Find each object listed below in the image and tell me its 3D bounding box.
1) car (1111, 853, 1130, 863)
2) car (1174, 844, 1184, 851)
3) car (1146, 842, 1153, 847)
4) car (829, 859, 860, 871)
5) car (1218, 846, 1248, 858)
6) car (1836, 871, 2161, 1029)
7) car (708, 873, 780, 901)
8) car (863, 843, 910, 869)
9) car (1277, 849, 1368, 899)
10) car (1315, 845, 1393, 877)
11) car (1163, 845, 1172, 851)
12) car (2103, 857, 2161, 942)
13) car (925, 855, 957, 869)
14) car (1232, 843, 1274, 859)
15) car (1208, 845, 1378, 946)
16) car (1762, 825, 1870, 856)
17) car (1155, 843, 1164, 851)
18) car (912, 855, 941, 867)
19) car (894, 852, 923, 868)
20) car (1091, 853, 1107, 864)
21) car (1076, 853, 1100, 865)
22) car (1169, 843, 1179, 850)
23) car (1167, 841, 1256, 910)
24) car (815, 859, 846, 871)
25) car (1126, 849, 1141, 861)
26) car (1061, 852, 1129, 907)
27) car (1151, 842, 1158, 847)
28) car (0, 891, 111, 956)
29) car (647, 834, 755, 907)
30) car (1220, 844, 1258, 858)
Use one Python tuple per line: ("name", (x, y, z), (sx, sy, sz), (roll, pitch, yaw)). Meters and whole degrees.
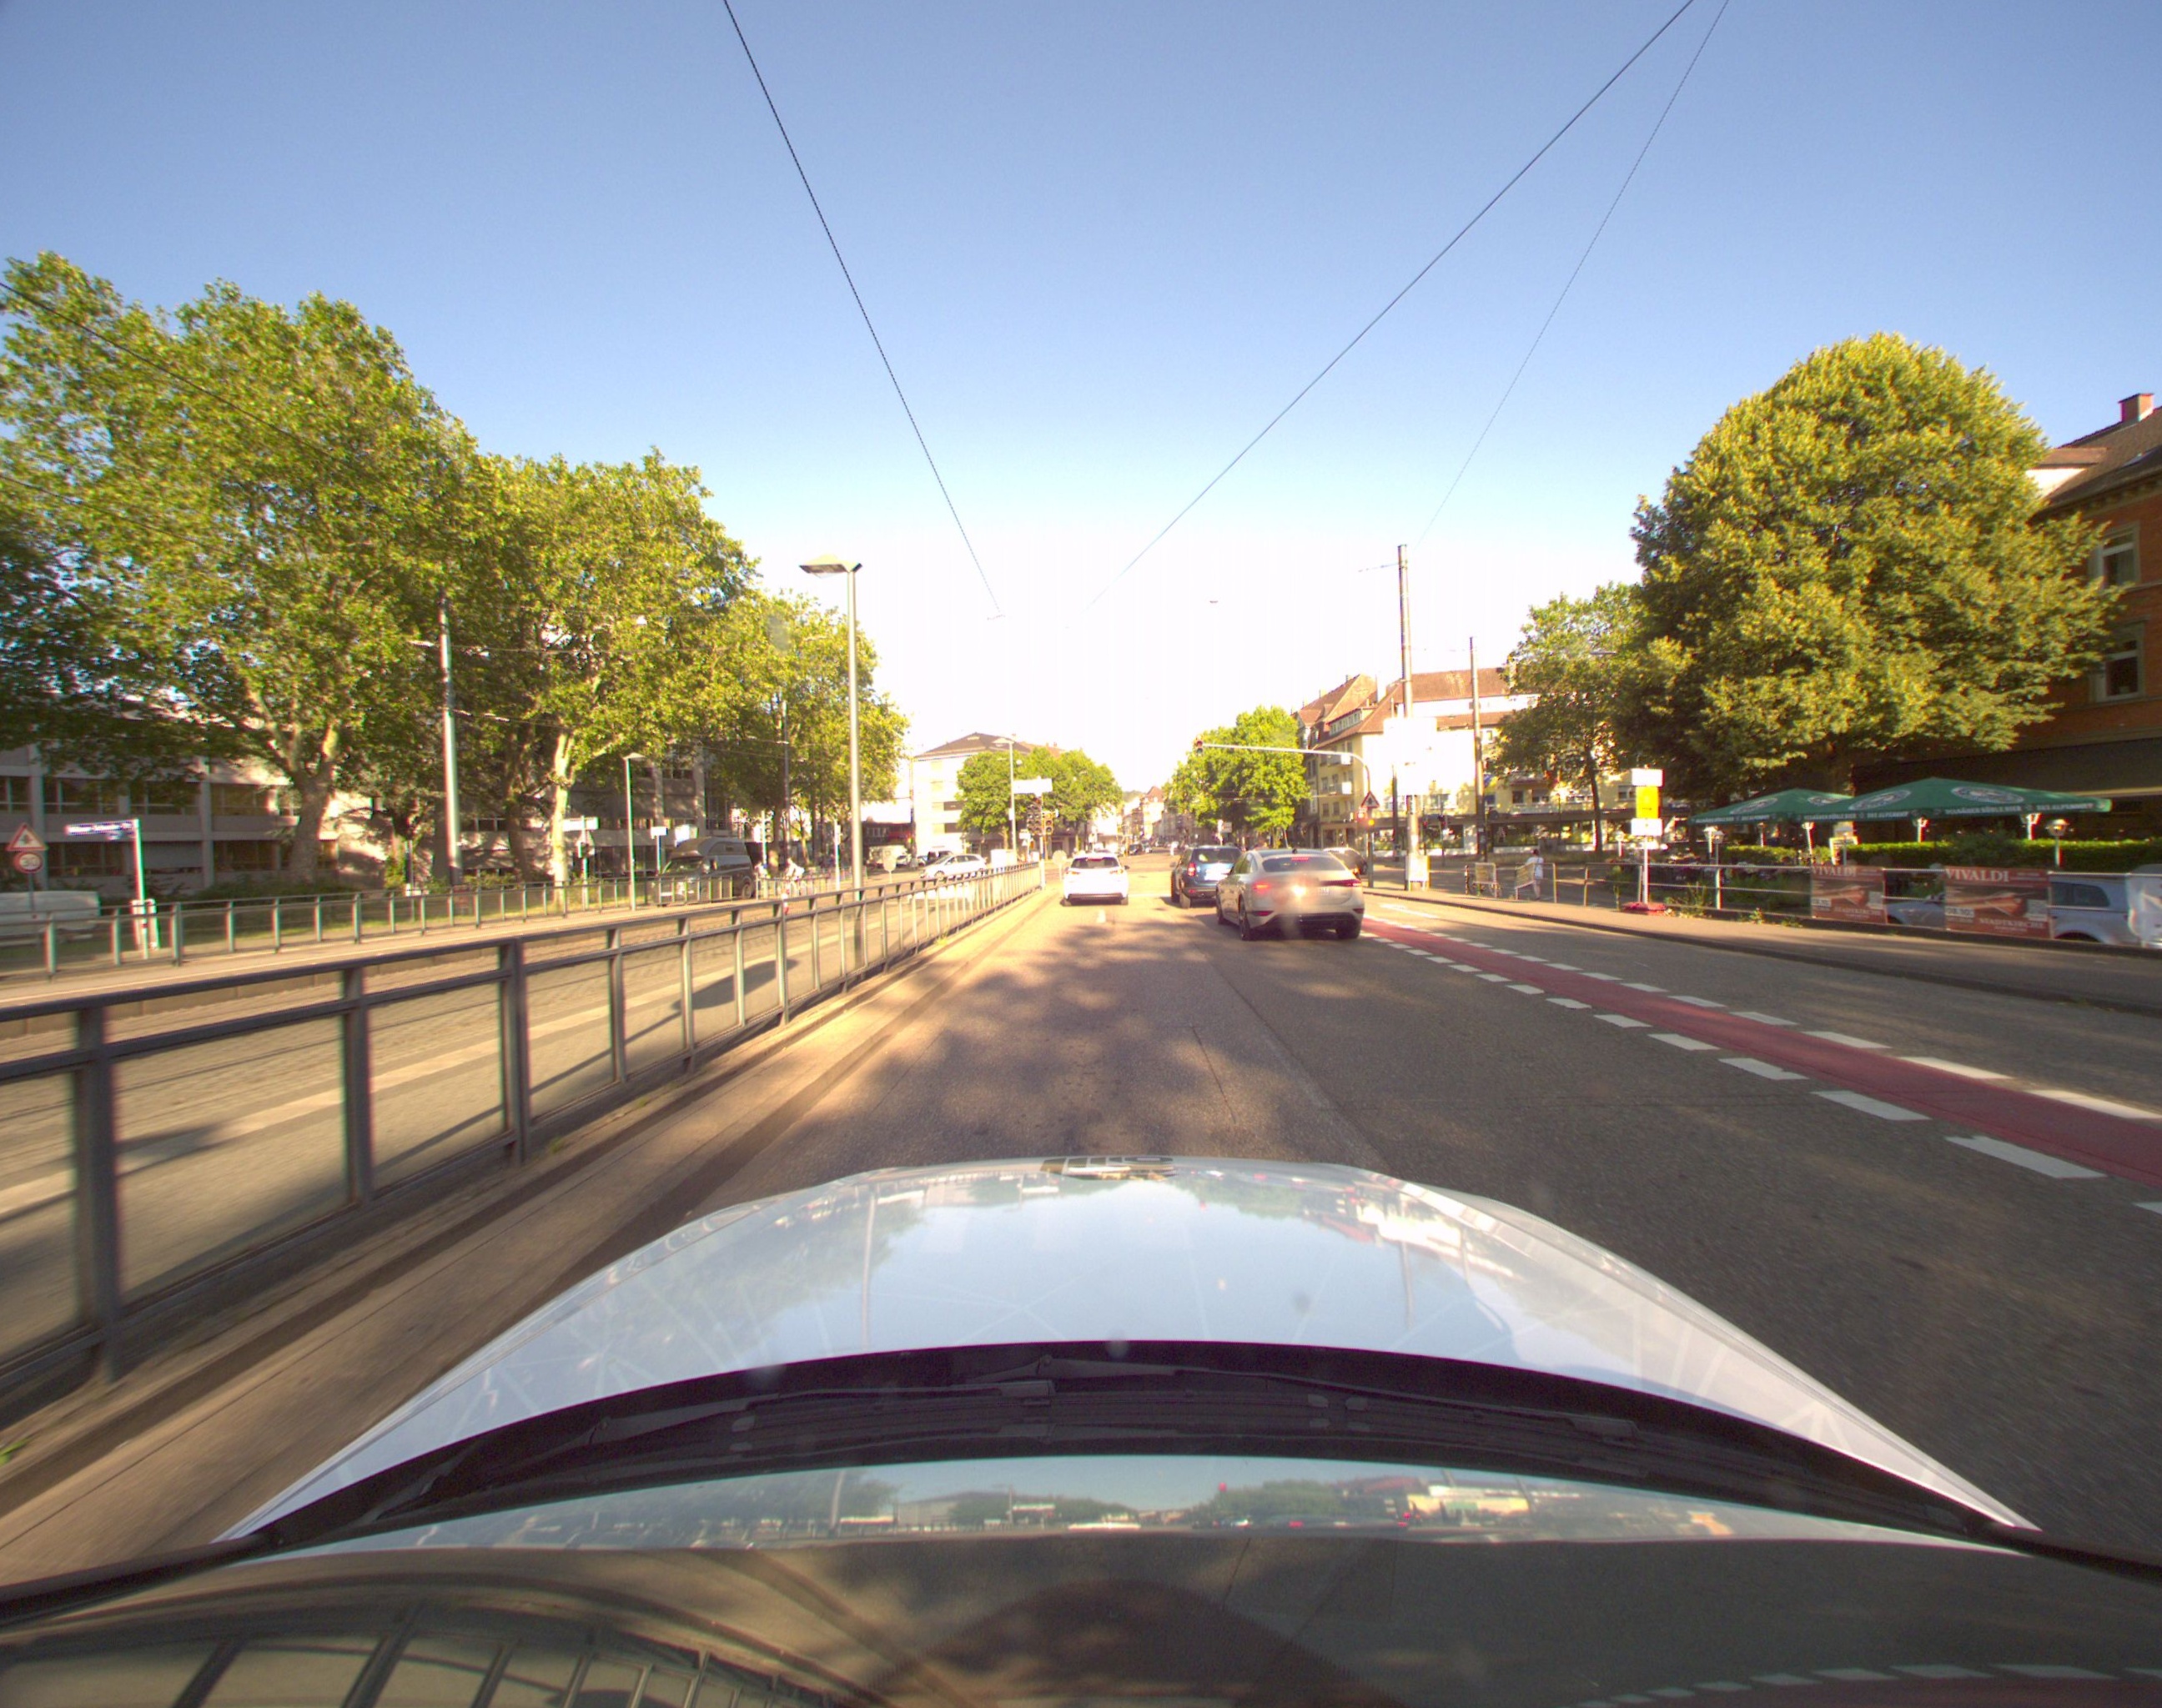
("car", (6.061, 0.601, 124.534), (1.779, 1.510, 4.021), (-2, -1, 21))
("car", (21.038, -1.396, 174.424), (1.787, 1.510, 4.001), (-2, 0, 2))
("car", (21.028, -2.969, 250.200), (1.787, 1.510, 4.001), (-2, 0, 2))
("car", (-32.105, 1.488, 110.627), (1.778, 1.510, 4.024), (-2, 0, 25))
("car", (20.506, -0.250, 110.056), (4.021, 1.510, 1.779), (-2, 0, -40))
("car", (14.302, 1.237, 12.259), (1.788, 1.898, 4.358), (-1, -1, 0))
("car", (-15.386, 1.492, 37.326), (2.061, 1.162, 2.911), (-1, -1, -1))
("car", (-25.493, 0.260, 107.002), (2.473, 3.165, 6.573), (-2, 0, 25))
("car", (7.477, 0.563, 25.619), (1.793, 1.439, 4.047), (0, 0, 2))
("car", (14.352, 0.315, 42.759), (4.015, 1.510, 1.782), (-2, 1, -33))
("car", (21.132, -1.488, 199.839), (1.787, 1.522, 4.001), (-2, 0, 2))
("car", (21.672, 0.837, 15.996), (4.018, 1.348, 1.760), (-4, 1, -35))
("car", (-17.633, 0.979, 102.893), (1.777, 1.649, 4.035), (-2, 0, 31))
("car", (18.002, -0.282, 85.419), (3.983, 1.510, 1.796), (-2, 0, -7))
("car", (3.574, 0.622, 14.716), (1.922, 1.472, 4.857), (-2, 0, 2))
("car", (39.038, -0.698, 43.370), (3.948, 1.510, 1.811), (-2, 0, 31))
("car", (21.656, -1.890, 224.866), (2.318, 2.013, 4.978), (-2, 0, 2))
("car", (-19.924, 0.894, 104.967), (1.779, 1.510, 4.031), (-2, 0, 21))
("car", (-22.390, 0.761, 105.928), (1.779, 1.955, 4.021), (-2, 0, 21))
("car", (2.616, 0.620, 116.553), (1.784, 1.510, 4.010), (-2, -1, 9))
("car", (1.014, 0.661, 110.597), (1.707, 1.510, 3.899), (-2, -1, 27))
("car", (20.561, -1.576, 180.601), (1.787, 1.510, 4.001), (-2, 0, 2))
("car", (3.393, 0.529, 21.898), (1.794, 1.638, 4.046), (-2, 0, 1))
("car", (-34.456, 1.545, 112.051), (1.778, 1.510, 4.024), (-2, 0, 25))
("car", (8.579, 0.167, 131.914), (1.782, 1.826, 4.014), (-2, 0, 12))
("car", (0.418, 0.677, 23.824), (1.801, 1.452, 4.001), (-1, 0, 1))
("car", (20.869, -2.634, 230.359), (1.787, 1.510, 4.001), (-2, 0, 2))
("car", (-42.730, 2.786, 31.852), (2.131, 2.335, 5.757), (-2, 0, 25))
("car", (-15.391, 0.653, 33.351), (2.061, 2.743, 5.029), (-1, -1, 0))
("car", (18.590, -0.325, 95.759), (3.979, 1.510, 1.797), (-2, 0, -4))
